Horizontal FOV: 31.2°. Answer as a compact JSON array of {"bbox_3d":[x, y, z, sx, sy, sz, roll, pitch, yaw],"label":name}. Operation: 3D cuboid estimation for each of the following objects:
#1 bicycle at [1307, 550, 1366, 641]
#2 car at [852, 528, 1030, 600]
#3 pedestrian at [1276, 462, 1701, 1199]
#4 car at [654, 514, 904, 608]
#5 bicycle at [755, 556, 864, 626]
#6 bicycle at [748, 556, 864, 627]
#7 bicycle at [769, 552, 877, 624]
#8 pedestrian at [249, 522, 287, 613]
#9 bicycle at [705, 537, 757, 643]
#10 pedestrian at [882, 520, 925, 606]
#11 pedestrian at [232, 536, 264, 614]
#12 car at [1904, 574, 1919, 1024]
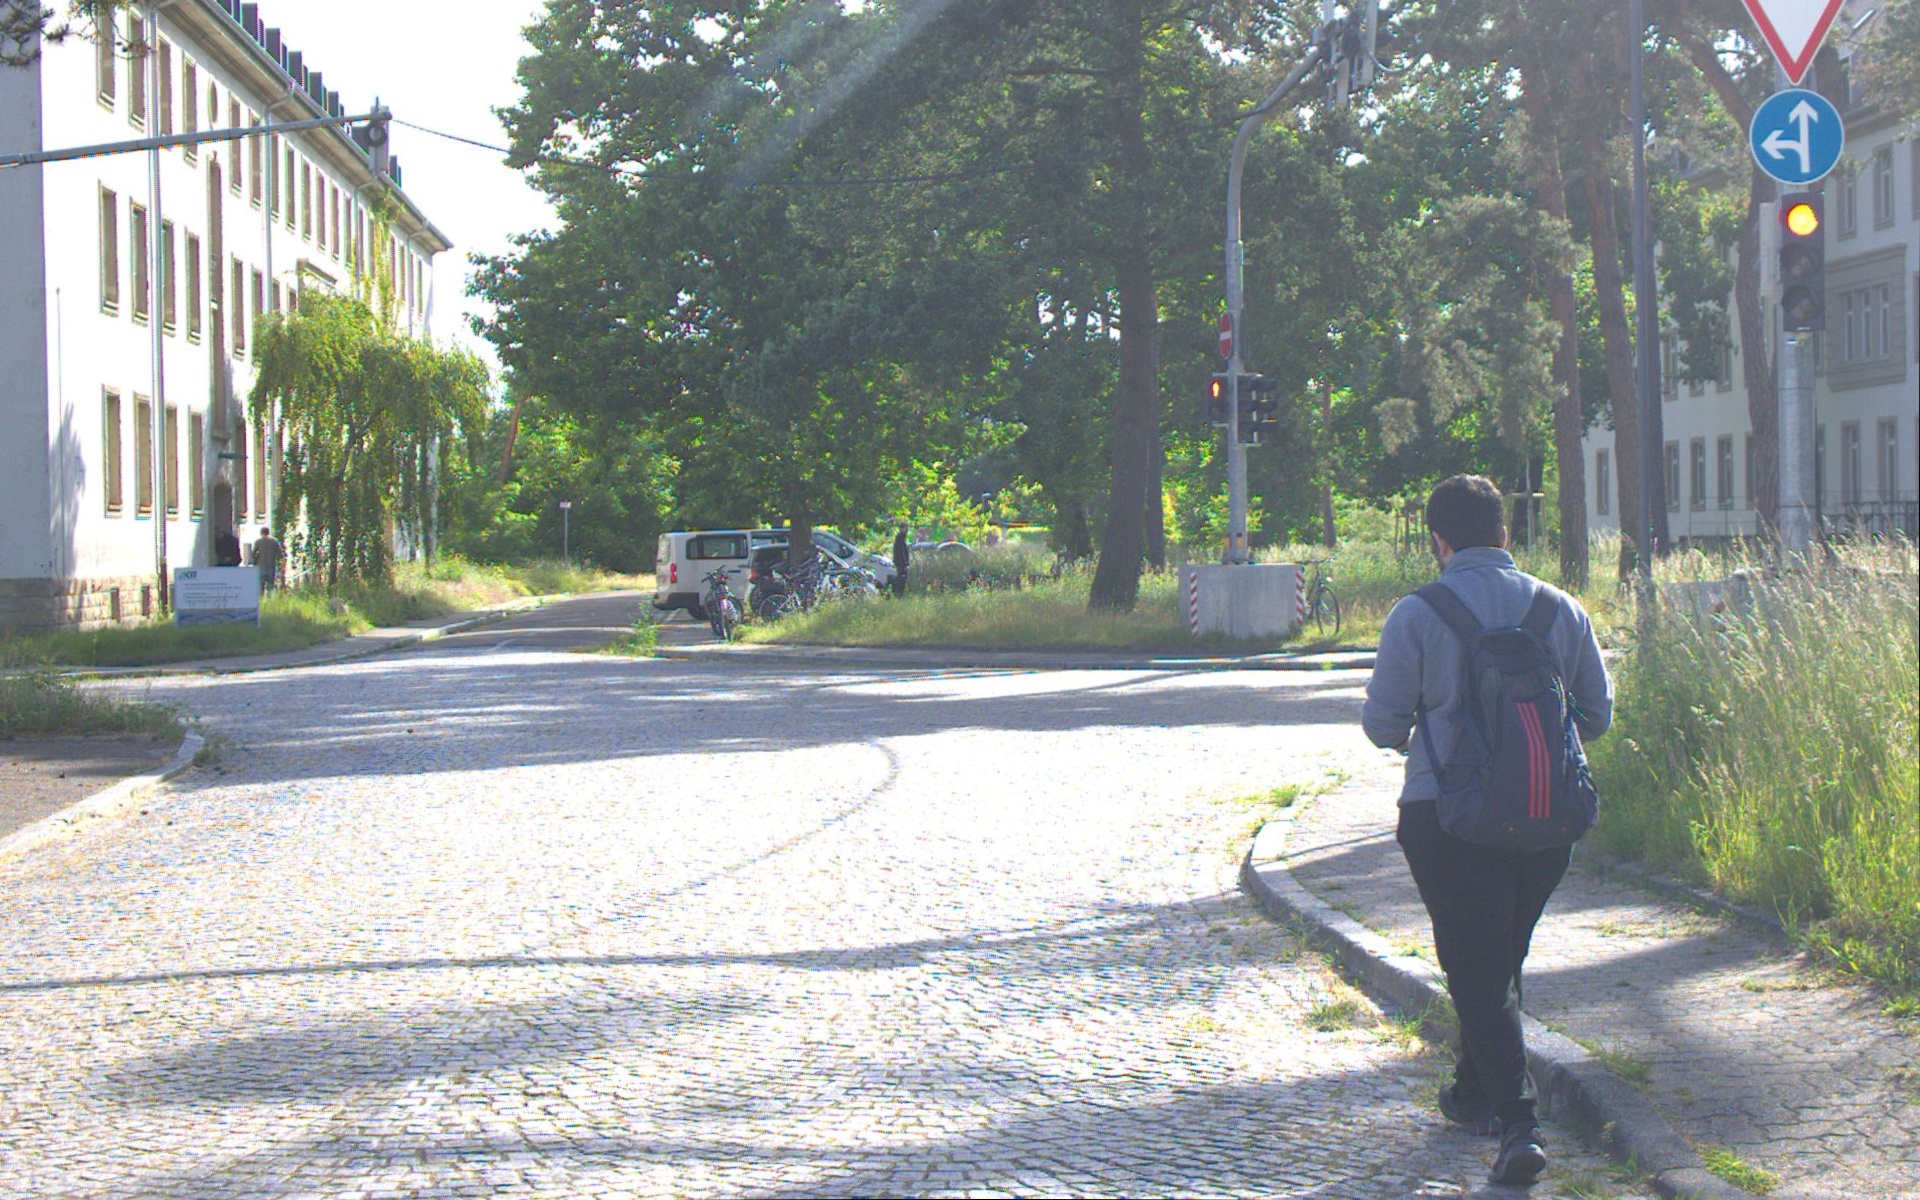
[{"bbox_3d":[4.841,-0.076,44.204,0.722,1.111,2.583,-1,1,6],"label":"bicycle"},{"bbox_3d":[-0.441,-0.830,77.647,3.743,1.574,1.742,-1,1,-10],"label":"car"},{"bbox_3d":[1.278,0.554,8.470,0.753,1.719,0.828,4,1,-4],"label":"pedestrian"},{"bbox_3d":[-3.888,-0.858,73.574,5.065,1.911,2.001,-1,1,-13],"label":"car"},{"bbox_3d":[-2.470,-0.146,56.276,1.727,1.108,0.484,-1,1,-7],"label":"bicycle"},{"bbox_3d":[-2.504,-0.135,55.729,1.834,1.108,0.495,-1,1,-7],"label":"bicycle"},{"bbox_3d":[-2.277,-0.197,56.968,1.727,1.160,0.561,-1,1,-7],"label":"bicycle"},{"bbox_3d":[-13.338,-0.632,66.275,0.606,1.746,0.630,-1,1,-20],"label":"pedestrian"},{"bbox_3d":[-3.498,-0.172,52.450,0.753,1.575,2.537,0,1,-4],"label":"bicycle"},{"bbox_3d":[-1.183,-0.777,72.138,0.759,1.777,0.684,-1,1,-11],"label":"pedestrian"},{"bbox_3d":[-14.308,-0.509,69.119,0.606,1.554,0.545,-1,1,-10],"label":"pedestrian"},{"bbox_3d":[4.045,0.601,7.061,3.673,1.438,1.665,-2,1,-3],"label":"car"}]
